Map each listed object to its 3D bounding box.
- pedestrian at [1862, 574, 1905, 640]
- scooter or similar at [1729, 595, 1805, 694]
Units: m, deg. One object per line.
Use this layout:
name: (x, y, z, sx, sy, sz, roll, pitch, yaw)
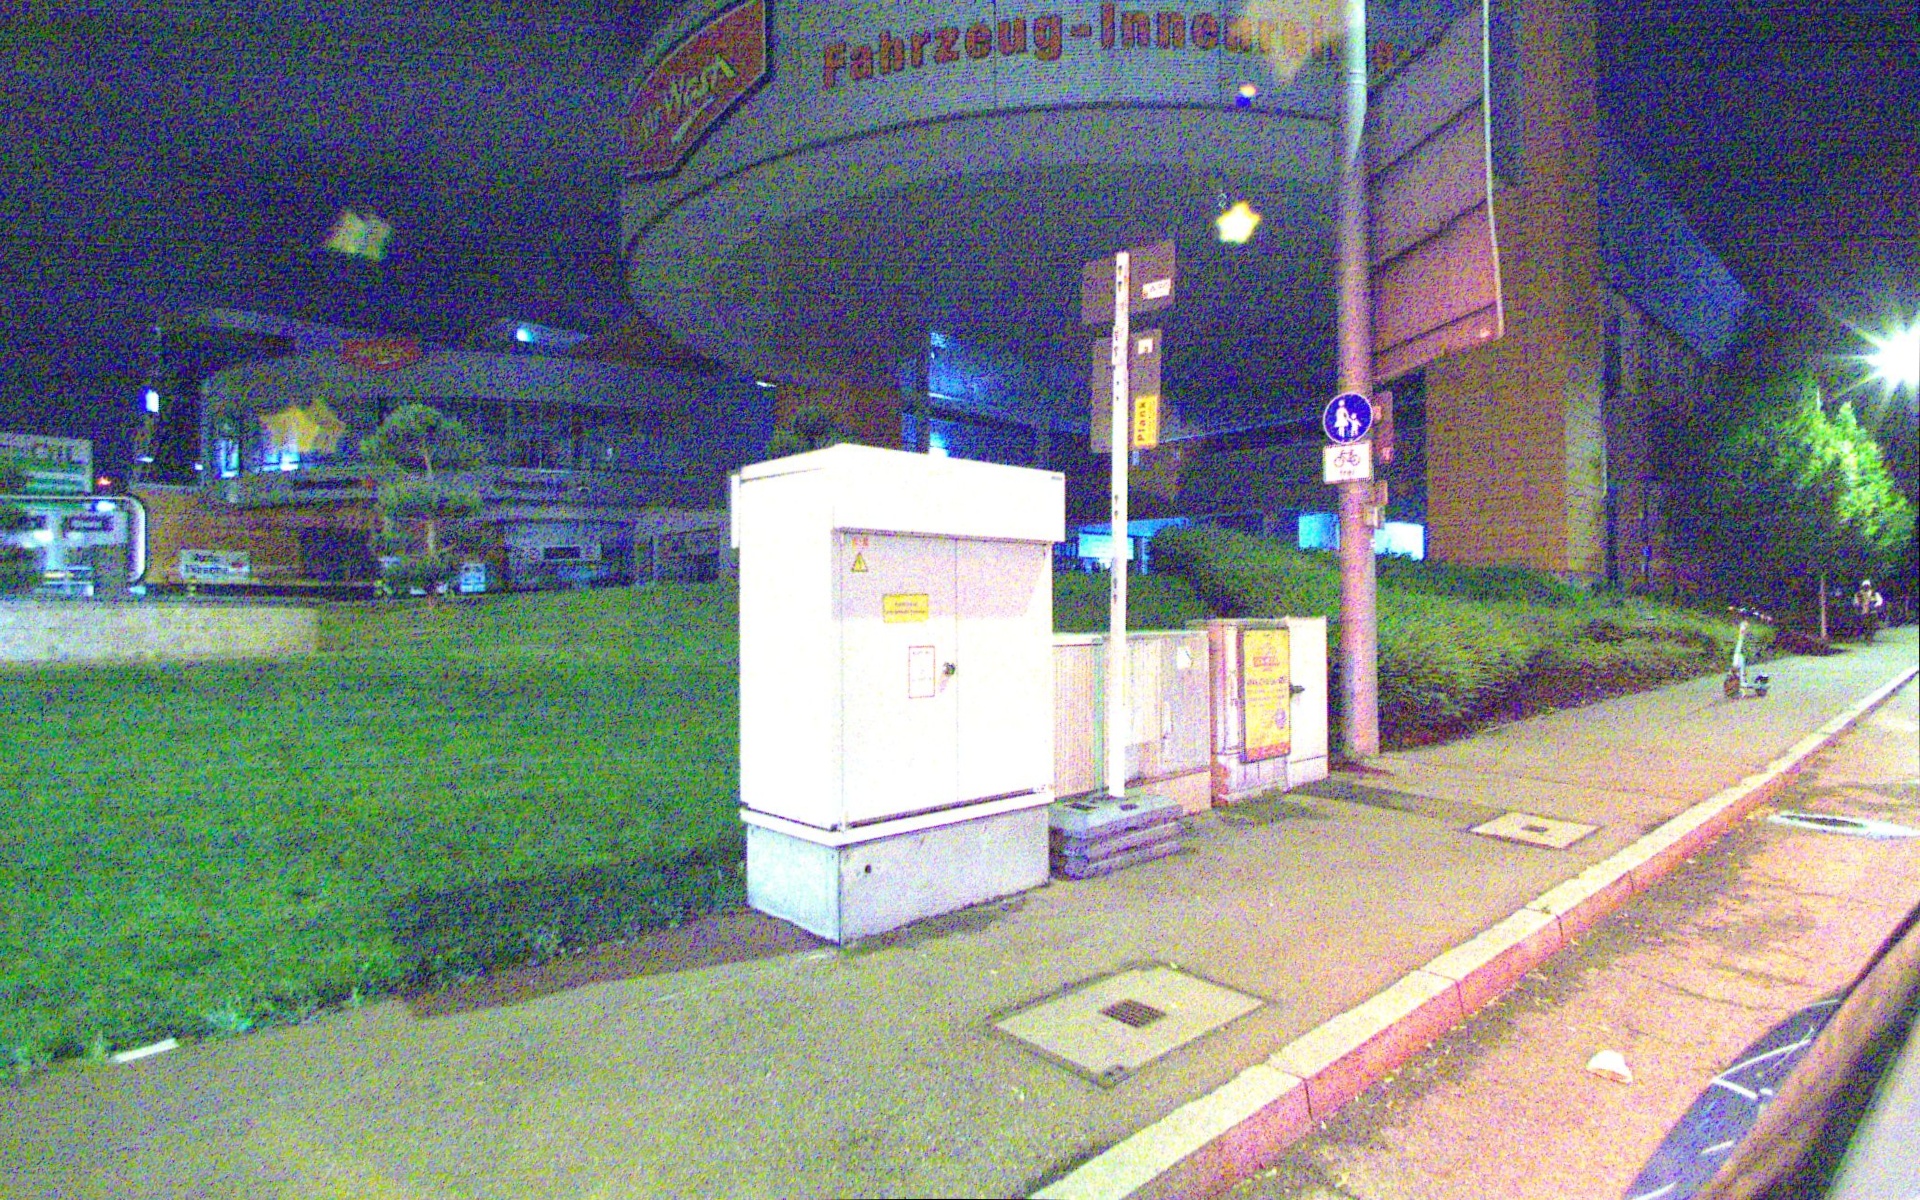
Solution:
pedestrian: (26.595, 0.195, 29.159, 0.597, 1.842, 0.824, -1, 0, -40)
scooter or similar: (11.237, 0.587, 14.080, 1.367, 1.295, 0.569, 0, 1, -41)
